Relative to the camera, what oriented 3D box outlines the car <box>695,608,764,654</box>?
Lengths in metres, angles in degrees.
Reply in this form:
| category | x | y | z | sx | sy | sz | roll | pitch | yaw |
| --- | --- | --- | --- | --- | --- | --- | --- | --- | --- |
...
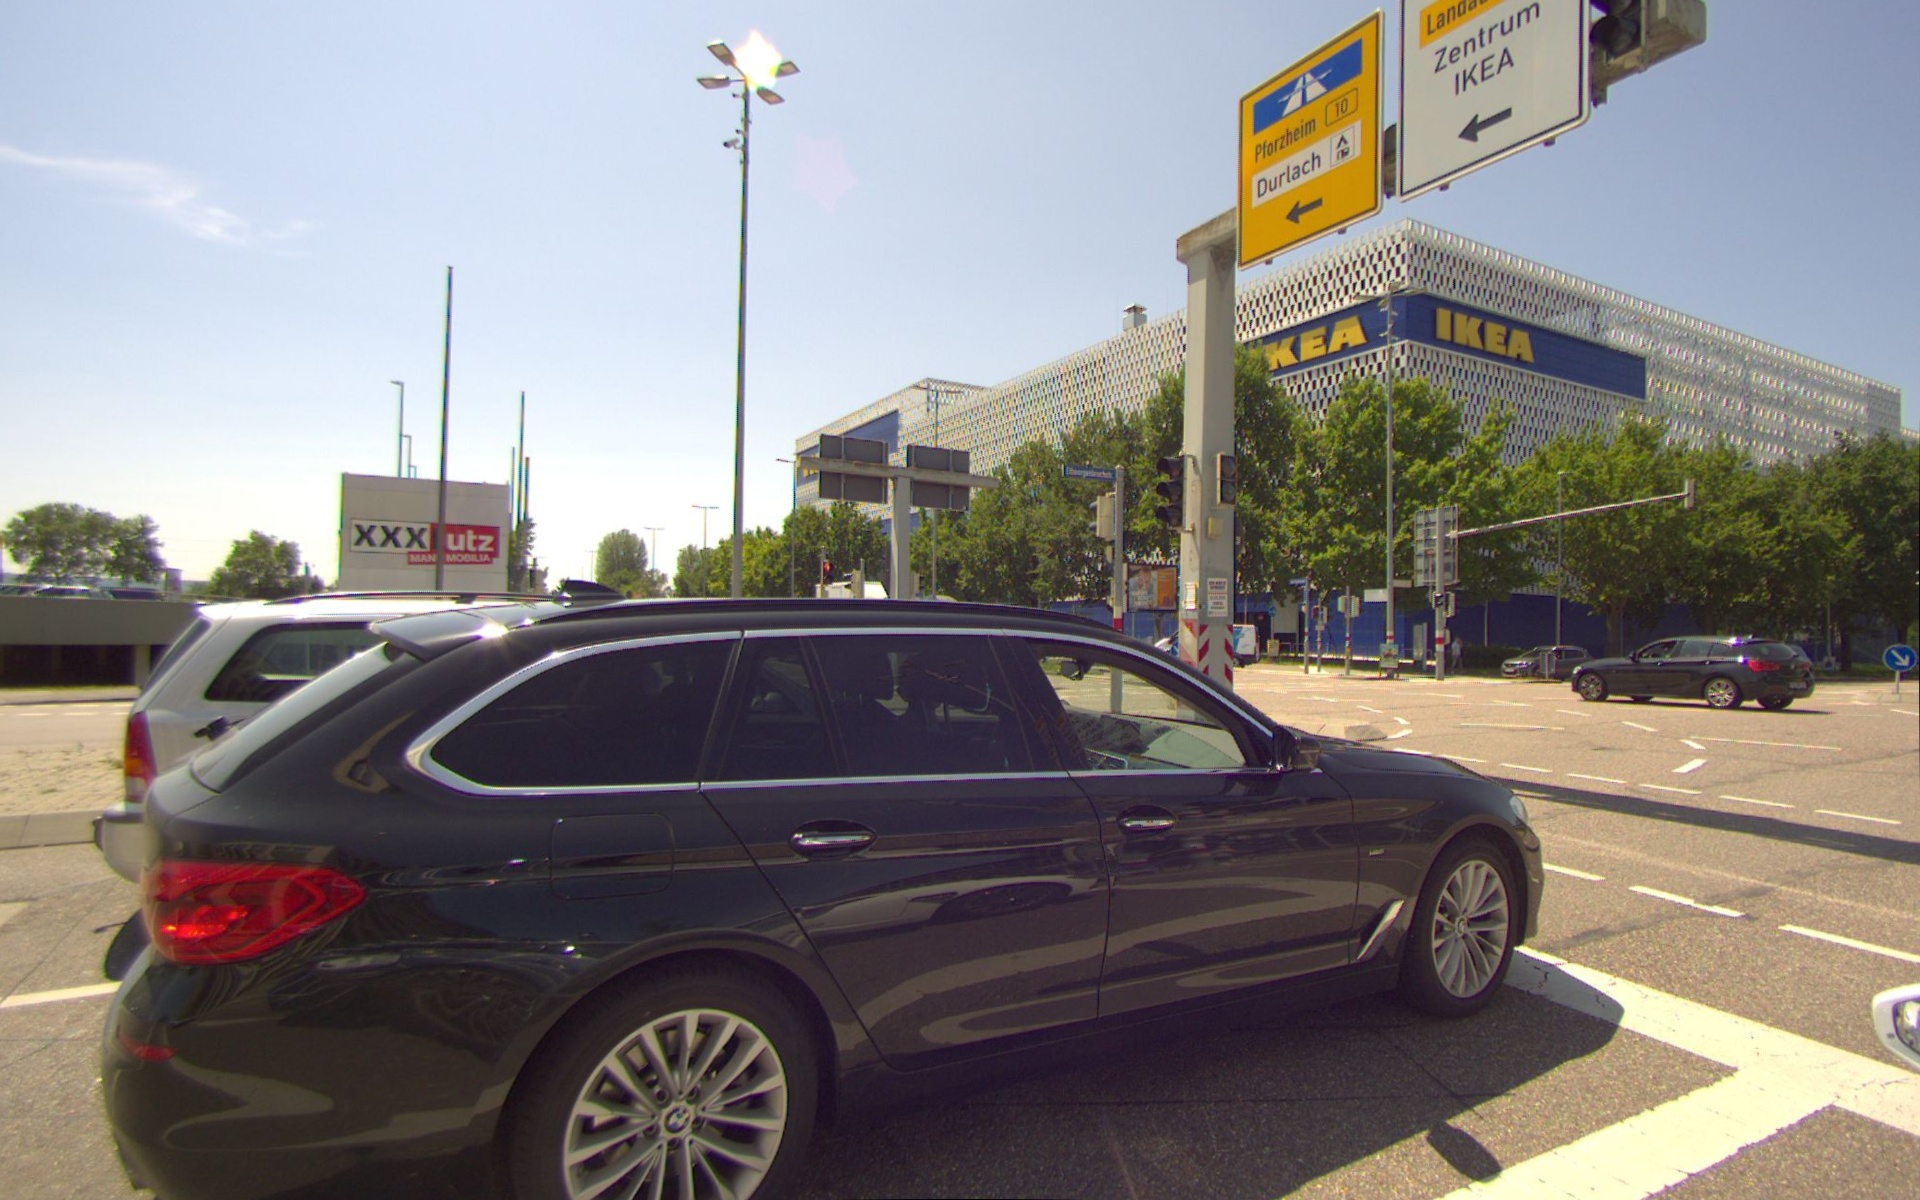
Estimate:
| category | x | y | z | sx | sy | sz | roll | pitch | yaw |
| --- | --- | --- | --- | --- | --- | --- | --- | --- | --- |
| car | -13.852 | 1.887 | 60.034 | 2.542 | 2.568 | 6.587 | 2 | -2 | -26 |

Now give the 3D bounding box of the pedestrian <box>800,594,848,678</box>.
| category | x | y | z | sx | sy | sz | roll | pitch | yaw |
| --- | --- | --- | --- | --- | --- | --- | --- | --- | --- |
| pedestrian | -3.391 | 0.895 | 24.996 | 0.856 | 2.040 | 0.899 | 1 | -2 | -35 |

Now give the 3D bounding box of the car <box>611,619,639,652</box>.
| category | x | y | z | sx | sy | sz | roll | pitch | yaw |
| --- | --- | --- | --- | --- | --- | --- | --- | --- | --- |
| car | -21.392 | 2.221 | 64.038 | 1.594 | 2.040 | 3.863 | 1 | -2 | -20 |

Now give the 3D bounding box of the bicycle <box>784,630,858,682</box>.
| category | x | y | z | sx | sy | sz | roll | pitch | yaw |
| --- | --- | --- | --- | --- | --- | --- | --- | --- | --- |
| bicycle | -3.489 | 1.370 | 25.099 | 0.987 | 1.229 | 2.079 | 2 | -2 | -35 |

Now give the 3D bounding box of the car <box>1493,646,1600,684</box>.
| category | x | y | z | sx | sy | sz | roll | pitch | yaw |
| --- | --- | --- | --- | --- | --- | --- | --- | --- | --- |
| car | 25.646 | 2.850 | 43.976 | 3.682 | 1.554 | 1.775 | 1 | 0 | -4 |

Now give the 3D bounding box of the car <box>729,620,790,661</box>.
| category | x | y | z | sx | sy | sz | roll | pitch | yaw |
| --- | --- | --- | --- | --- | --- | --- | --- | --- | --- |
| car | -10.626 | 2.136 | 52.993 | 1.975 | 2.040 | 4.681 | 2 | -2 | -27 |

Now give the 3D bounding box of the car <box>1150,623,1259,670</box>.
| category | x | y | z | sx | sy | sz | roll | pitch | yaw |
| --- | --- | --- | --- | --- | --- | --- | --- | --- | --- |
| car | 11.229 | 2.119 | 46.097 | 4.671 | 2.034 | 2.000 | 0 | -2 | 21 |

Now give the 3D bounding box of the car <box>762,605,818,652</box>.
| category | x | y | z | sx | sy | sz | roll | pitch | yaw |
| --- | --- | --- | --- | --- | --- | --- | --- | --- | --- |
| car | -10.035 | 1.681 | 59.080 | 2.032 | 2.665 | 4.652 | 0 | -2 | -26 |

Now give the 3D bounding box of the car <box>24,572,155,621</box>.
| category | x | y | z | sx | sy | sz | roll | pitch | yaw |
| --- | --- | --- | --- | --- | --- | --- | --- | --- | --- |
| car | -37.769 | -0.105 | 43.730 | 3.953 | 1.957 | 1.984 | 2 | -2 | -30 |

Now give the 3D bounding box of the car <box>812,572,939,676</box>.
| category | x | y | z | sx | sy | sz | roll | pitch | yaw |
| --- | --- | --- | --- | --- | --- | --- | --- | --- | --- |
| car | -3.325 | 0.874 | 37.495 | 2.156 | 3.532 | 6.875 | 0 | -1 | -28 |

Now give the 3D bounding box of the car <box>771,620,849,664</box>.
| category | x | y | z | sx | sy | sz | roll | pitch | yaw |
| --- | --- | --- | --- | --- | --- | --- | --- | --- | --- |
| car | -6.786 | 1.849 | 45.020 | 1.973 | 1.835 | 5.438 | 1 | -2 | -25 |

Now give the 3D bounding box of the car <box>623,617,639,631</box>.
| category | x | y | z | sx | sy | sz | roll | pitch | yaw |
| --- | --- | --- | --- | --- | --- | --- | --- | --- | --- |
| car | -49.618 | 3.685 | 151.297 | 1.971 | 2.040 | 3.979 | 2 | -2 | -22 |

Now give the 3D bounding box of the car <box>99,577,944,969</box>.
| category | x | y | z | sx | sy | sz | roll | pitch | yaw |
| --- | --- | --- | --- | --- | --- | --- | --- | --- | --- |
| car | -2.225 | 0.723 | 5.788 | 3.961 | 1.514 | 1.785 | 2 | -1 | -36 |

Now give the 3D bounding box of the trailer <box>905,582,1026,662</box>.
| category | x | y | z | sx | sy | sz | roll | pitch | yaw |
| --- | --- | --- | --- | --- | --- | --- | --- | --- | --- |
| trailer | 0.103 | 1.295 | 57.376 | 3.053 | 4.135 | 9.584 | 2 | -2 | -25 |

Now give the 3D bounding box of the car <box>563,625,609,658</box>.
| category | x | y | z | sx | sy | sz | roll | pitch | yaw |
| --- | --- | --- | --- | --- | --- | --- | --- | --- | --- |
| car | -23.605 | 2.590 | 63.294 | 1.815 | 2.040 | 3.963 | 2 | -2 | -34 |

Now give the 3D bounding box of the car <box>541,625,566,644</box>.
| category | x | y | z | sx | sy | sz | roll | pitch | yaw |
| --- | --- | --- | --- | --- | --- | --- | --- | --- | --- |
| car | -36.470 | 3.087 | 90.086 | 1.718 | 1.708 | 3.642 | 2 | -2 | -28 |

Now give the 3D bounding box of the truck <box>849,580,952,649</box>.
| category | x | y | z | sx | sy | sz | roll | pitch | yaw |
| --- | --- | --- | --- | --- | --- | --- | --- | --- | --- |
| truck | -4.140 | 1.060 | 66.452 | 3.059 | 4.136 | 10.586 | 2 | -2 | -25 |

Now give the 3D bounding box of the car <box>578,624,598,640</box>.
| category | x | y | z | sx | sy | sz | roll | pitch | yaw |
| --- | --- | --- | --- | --- | --- | --- | --- | --- | --- |
| car | -48.858 | 4.153 | 131.918 | 1.906 | 2.040 | 3.971 | 2 | -2 | -28 |

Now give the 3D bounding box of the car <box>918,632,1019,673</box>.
| category | x | y | z | sx | sy | sz | roll | pitch | yaw |
| --- | --- | --- | --- | --- | --- | --- | --- | --- | --- |
| car | 0.245 | 1.876 | 36.667 | 1.756 | 1.360 | 4.262 | 1 | -2 | -30 |

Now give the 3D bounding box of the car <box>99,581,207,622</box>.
| category | x | y | z | sx | sy | sz | roll | pitch | yaw |
| --- | --- | --- | --- | --- | --- | --- | --- | --- | --- |
| car | -40.379 | 0.104 | 50.395 | 3.956 | 1.933 | 1.983 | 2 | -2 | -32 |

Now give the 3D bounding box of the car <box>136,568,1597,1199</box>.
| category | x | y | z | sx | sy | sz | roll | pitch | yaw |
| --- | --- | --- | --- | --- | --- | --- | --- | --- | --- |
| car | 0.148 | 0.741 | 3.619 | 4.570 | 1.485 | 1.791 | 1 | -1 | -31 |

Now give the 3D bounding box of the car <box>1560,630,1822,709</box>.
| category | x | y | z | sx | sy | sz | roll | pitch | yaw |
| --- | --- | --- | --- | --- | --- | --- | --- | --- | --- |
| car | 14.916 | 1.368 | 20.797 | 1.646 | 1.429 | 4.218 | 2 | -2 | -19 |

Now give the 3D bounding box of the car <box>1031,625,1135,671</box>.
| category | x | y | z | sx | sy | sz | roll | pitch | yaw |
| --- | --- | --- | --- | --- | --- | --- | --- | --- | --- |
| car | 4.787 | 1.971 | 39.869 | 1.972 | 1.608 | 4.671 | 2 | -6 | -24 |

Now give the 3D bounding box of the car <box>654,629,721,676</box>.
| category | x | y | z | sx | sy | sz | roll | pitch | yaw |
| --- | --- | --- | --- | --- | --- | --- | --- | --- | --- |
| car | -9.520 | 1.795 | 34.904 | 1.904 | 1.528 | 3.982 | 1 | -2 | -20 |
